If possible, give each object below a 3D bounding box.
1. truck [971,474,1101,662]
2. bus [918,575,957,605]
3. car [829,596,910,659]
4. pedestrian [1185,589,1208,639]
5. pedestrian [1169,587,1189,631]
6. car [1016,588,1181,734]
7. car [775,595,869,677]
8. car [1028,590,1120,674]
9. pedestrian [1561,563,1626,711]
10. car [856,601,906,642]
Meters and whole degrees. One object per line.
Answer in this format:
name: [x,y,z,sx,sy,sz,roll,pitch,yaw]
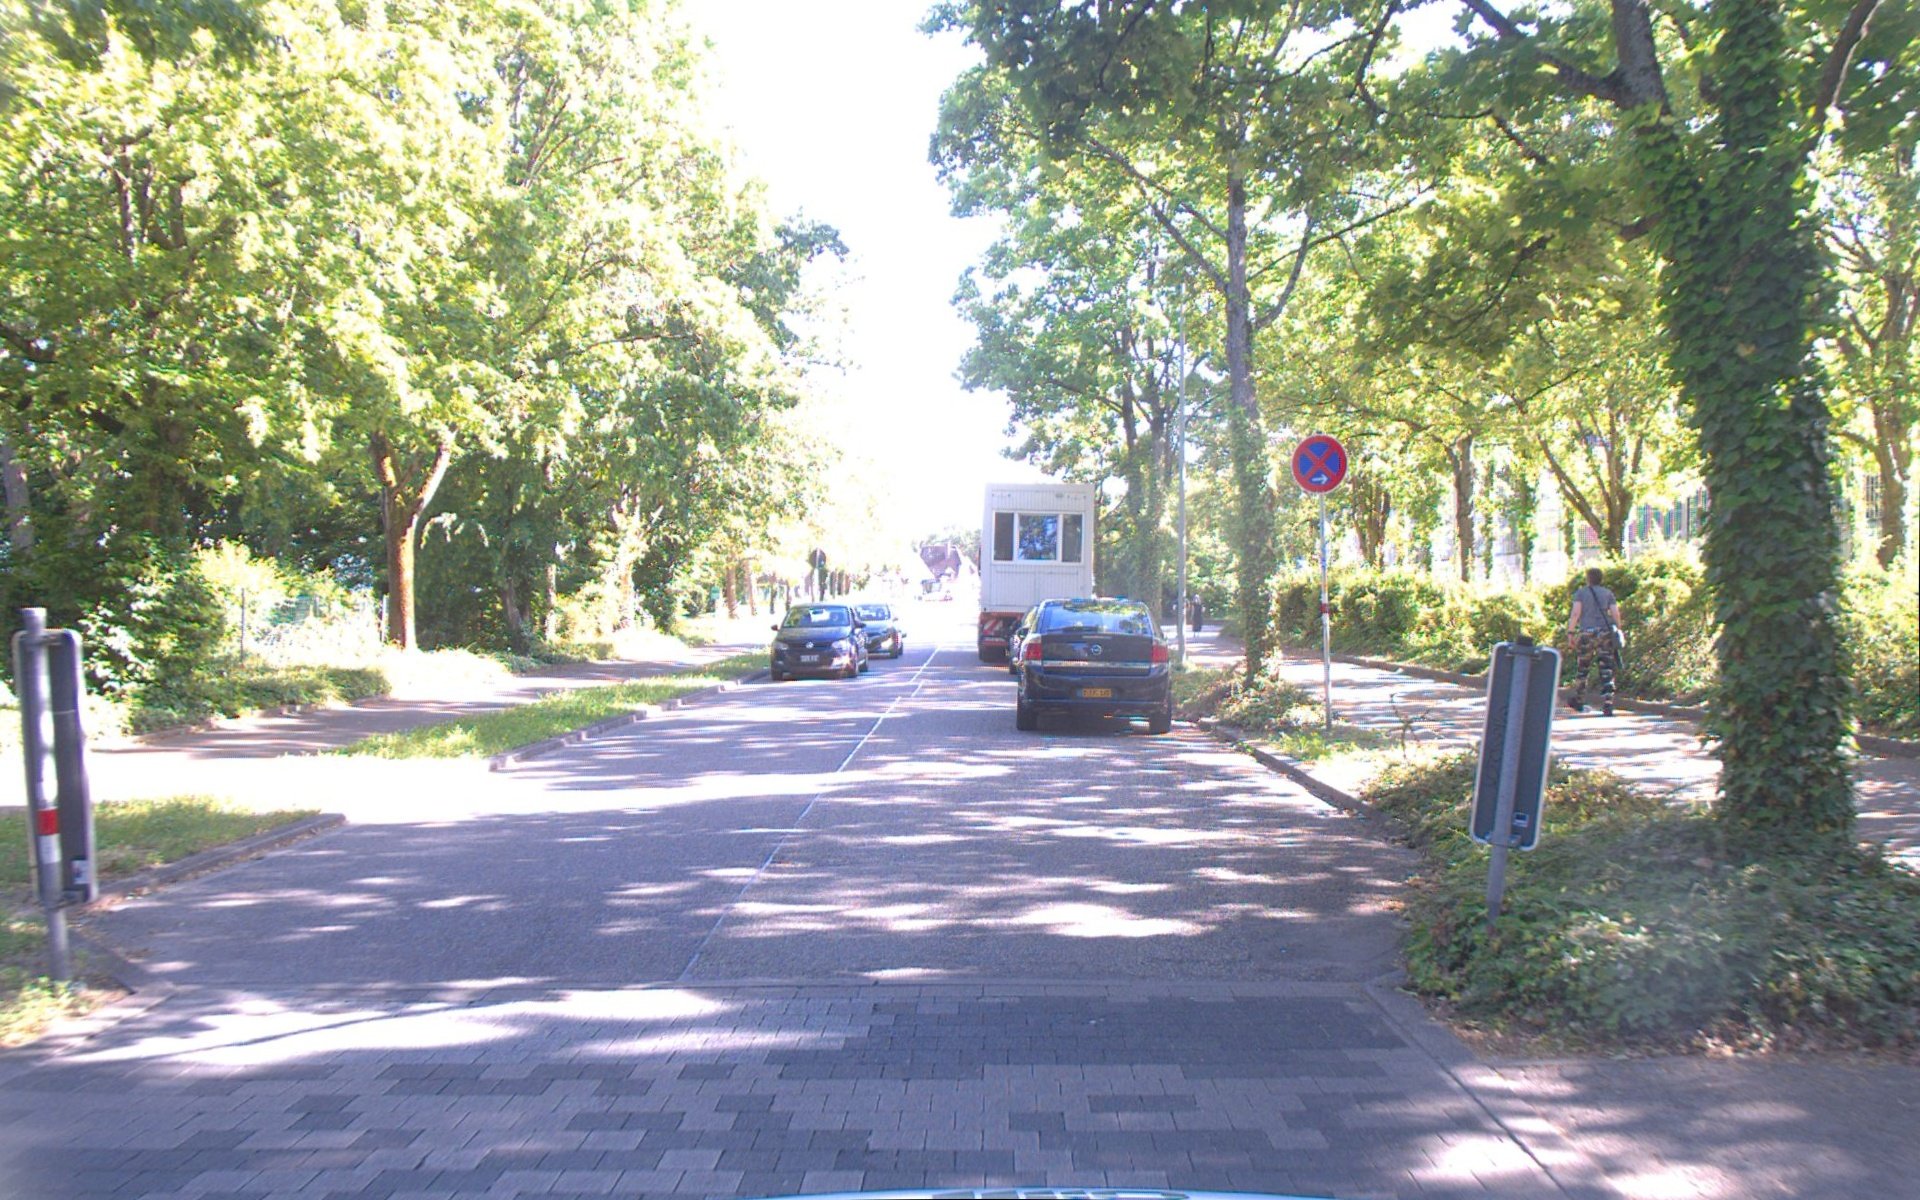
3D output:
truck: [1.703,-0.726,41.529,2.716,4.065,10.348,1,0,0]
bus: [-2.584,-1.239,196.554,3.980,3.407,9.804,-1,0,3]
car: [-2.317,0.681,43.143,1.719,1.479,4.244,-1,0,2]
pedestrian: [8.789,0.509,61.434,0.684,1.844,0.700,-1,0,-3]
pedestrian: [8.134,0.331,61.398,0.586,1.639,0.600,-1,0,-3]
car: [1.531,0.652,19.345,1.712,1.506,4.031,1,0,2]
car: [-2.647,0.654,32.286,1.568,1.451,3.651,-1,0,-1]
car: [2.127,0.562,31.470,1.606,1.445,4.001,-2,0,3]
pedestrian: [7.126,0.403,18.632,0.559,1.636,0.672,0,0,10]
car: [-2.993,0.788,63.301,1.750,1.441,4.104,-1,0,-1]
